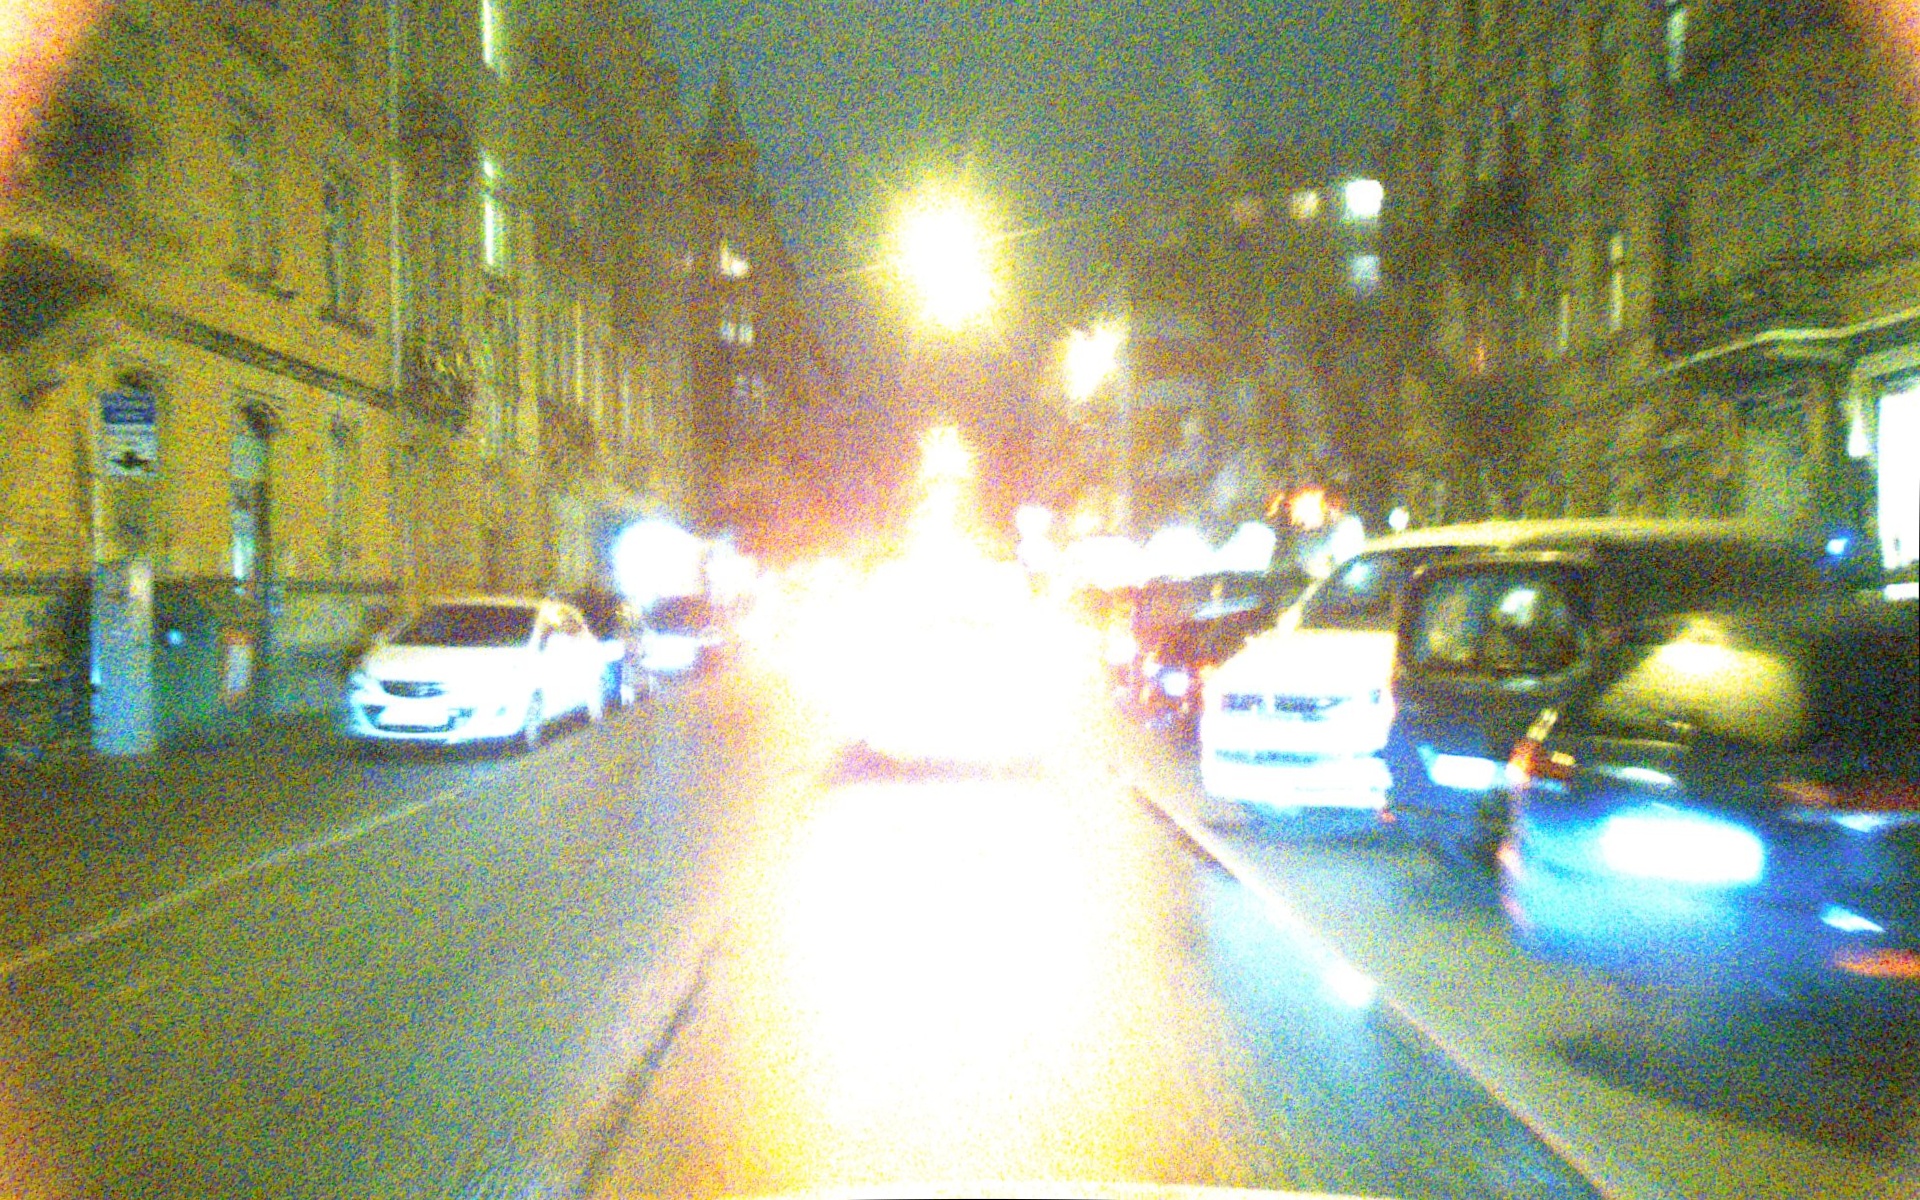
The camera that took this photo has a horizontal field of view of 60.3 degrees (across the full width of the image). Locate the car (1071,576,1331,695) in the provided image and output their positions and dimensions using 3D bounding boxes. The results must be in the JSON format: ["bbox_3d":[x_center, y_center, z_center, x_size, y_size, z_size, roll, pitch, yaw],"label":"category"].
[{"bbox_3d":[3.891,0.523,26.453,3.958,1.615,1.856,-3,1,-37],"label":"car"}]

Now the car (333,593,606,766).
[{"bbox_3d":[-4.720,0.694,16.435,1.554,1.508,3.793,0,0,0],"label":"car"}]

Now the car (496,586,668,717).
[{"bbox_3d":[-4.920,0.619,21.983,1.623,1.584,4.073,0,0,-4],"label":"car"}]

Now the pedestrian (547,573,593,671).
[{"bbox_3d":[-6.959,0.390,29.551,0.687,1.734,0.539,0,0,-1],"label":"pedestrian"}]

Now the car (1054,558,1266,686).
[{"bbox_3d":[3.509,0.351,28.788,3.529,2.025,1.584,-3,0,-38],"label":"car"}]

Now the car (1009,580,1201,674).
[{"bbox_3d":[2.817,0.499,31.800,3.529,1.618,1.584,-3,0,-38],"label":"car"}]

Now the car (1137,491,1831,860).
[{"bbox_3d":[3.725,0.400,11.500,4.738,2.084,2.044,-1,0,-32],"label":"car"}]

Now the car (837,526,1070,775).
[{"bbox_3d":[-0.078,0.440,15.882,1.953,2.086,3.999,0,-1,-1],"label":"car"}]

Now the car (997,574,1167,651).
[{"bbox_3d":[3.016,0.286,40.525,3.958,1.792,1.856,0,0,-38],"label":"car"}]

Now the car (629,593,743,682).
[{"bbox_3d":[-5.164,0.669,31.591,1.777,1.584,4.073,0,0,-4],"label":"car"}]

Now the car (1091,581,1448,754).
[{"bbox_3d":[3.262,0.639,17.223,3.527,1.510,1.704,-3,0,-37],"label":"car"}]

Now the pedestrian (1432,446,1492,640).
[{"bbox_3d":[9.399,-1.052,30.999,0.873,3.589,0.791,0,0,-1],"label":"pedestrian"}]

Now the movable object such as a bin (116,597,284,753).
[{"bbox_3d":[-7.282,0.691,15.911,1.026,1.423,1.158,1,0,1],"label":"movable object such as a bin"}]

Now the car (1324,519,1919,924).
[{"bbox_3d":[3.861,0.501,8.884,3.517,1.741,1.629,-3,0,-30],"label":"car"}]

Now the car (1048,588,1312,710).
[{"bbox_3d":[3.138,0.654,23.383,3.527,1.478,1.651,-3,0,-37],"label":"car"}]

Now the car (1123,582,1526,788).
[{"bbox_3d":[3.270,0.677,14.646,3.472,1.520,1.434,-3,0,-33],"label":"car"}]

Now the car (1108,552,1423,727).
[{"bbox_3d":[3.766,0.424,20.154,3.711,1.872,1.703,-3,0,-38],"label":"car"}]

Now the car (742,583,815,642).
[{"bbox_3d":[-5.552,0.369,50.938,1.845,1.714,3.999,0,0,-1],"label":"car"}]

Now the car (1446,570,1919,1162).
[{"bbox_3d":[3.841,0.645,5.960,3.944,1.518,1.718,-3,0,-29],"label":"car"}]
